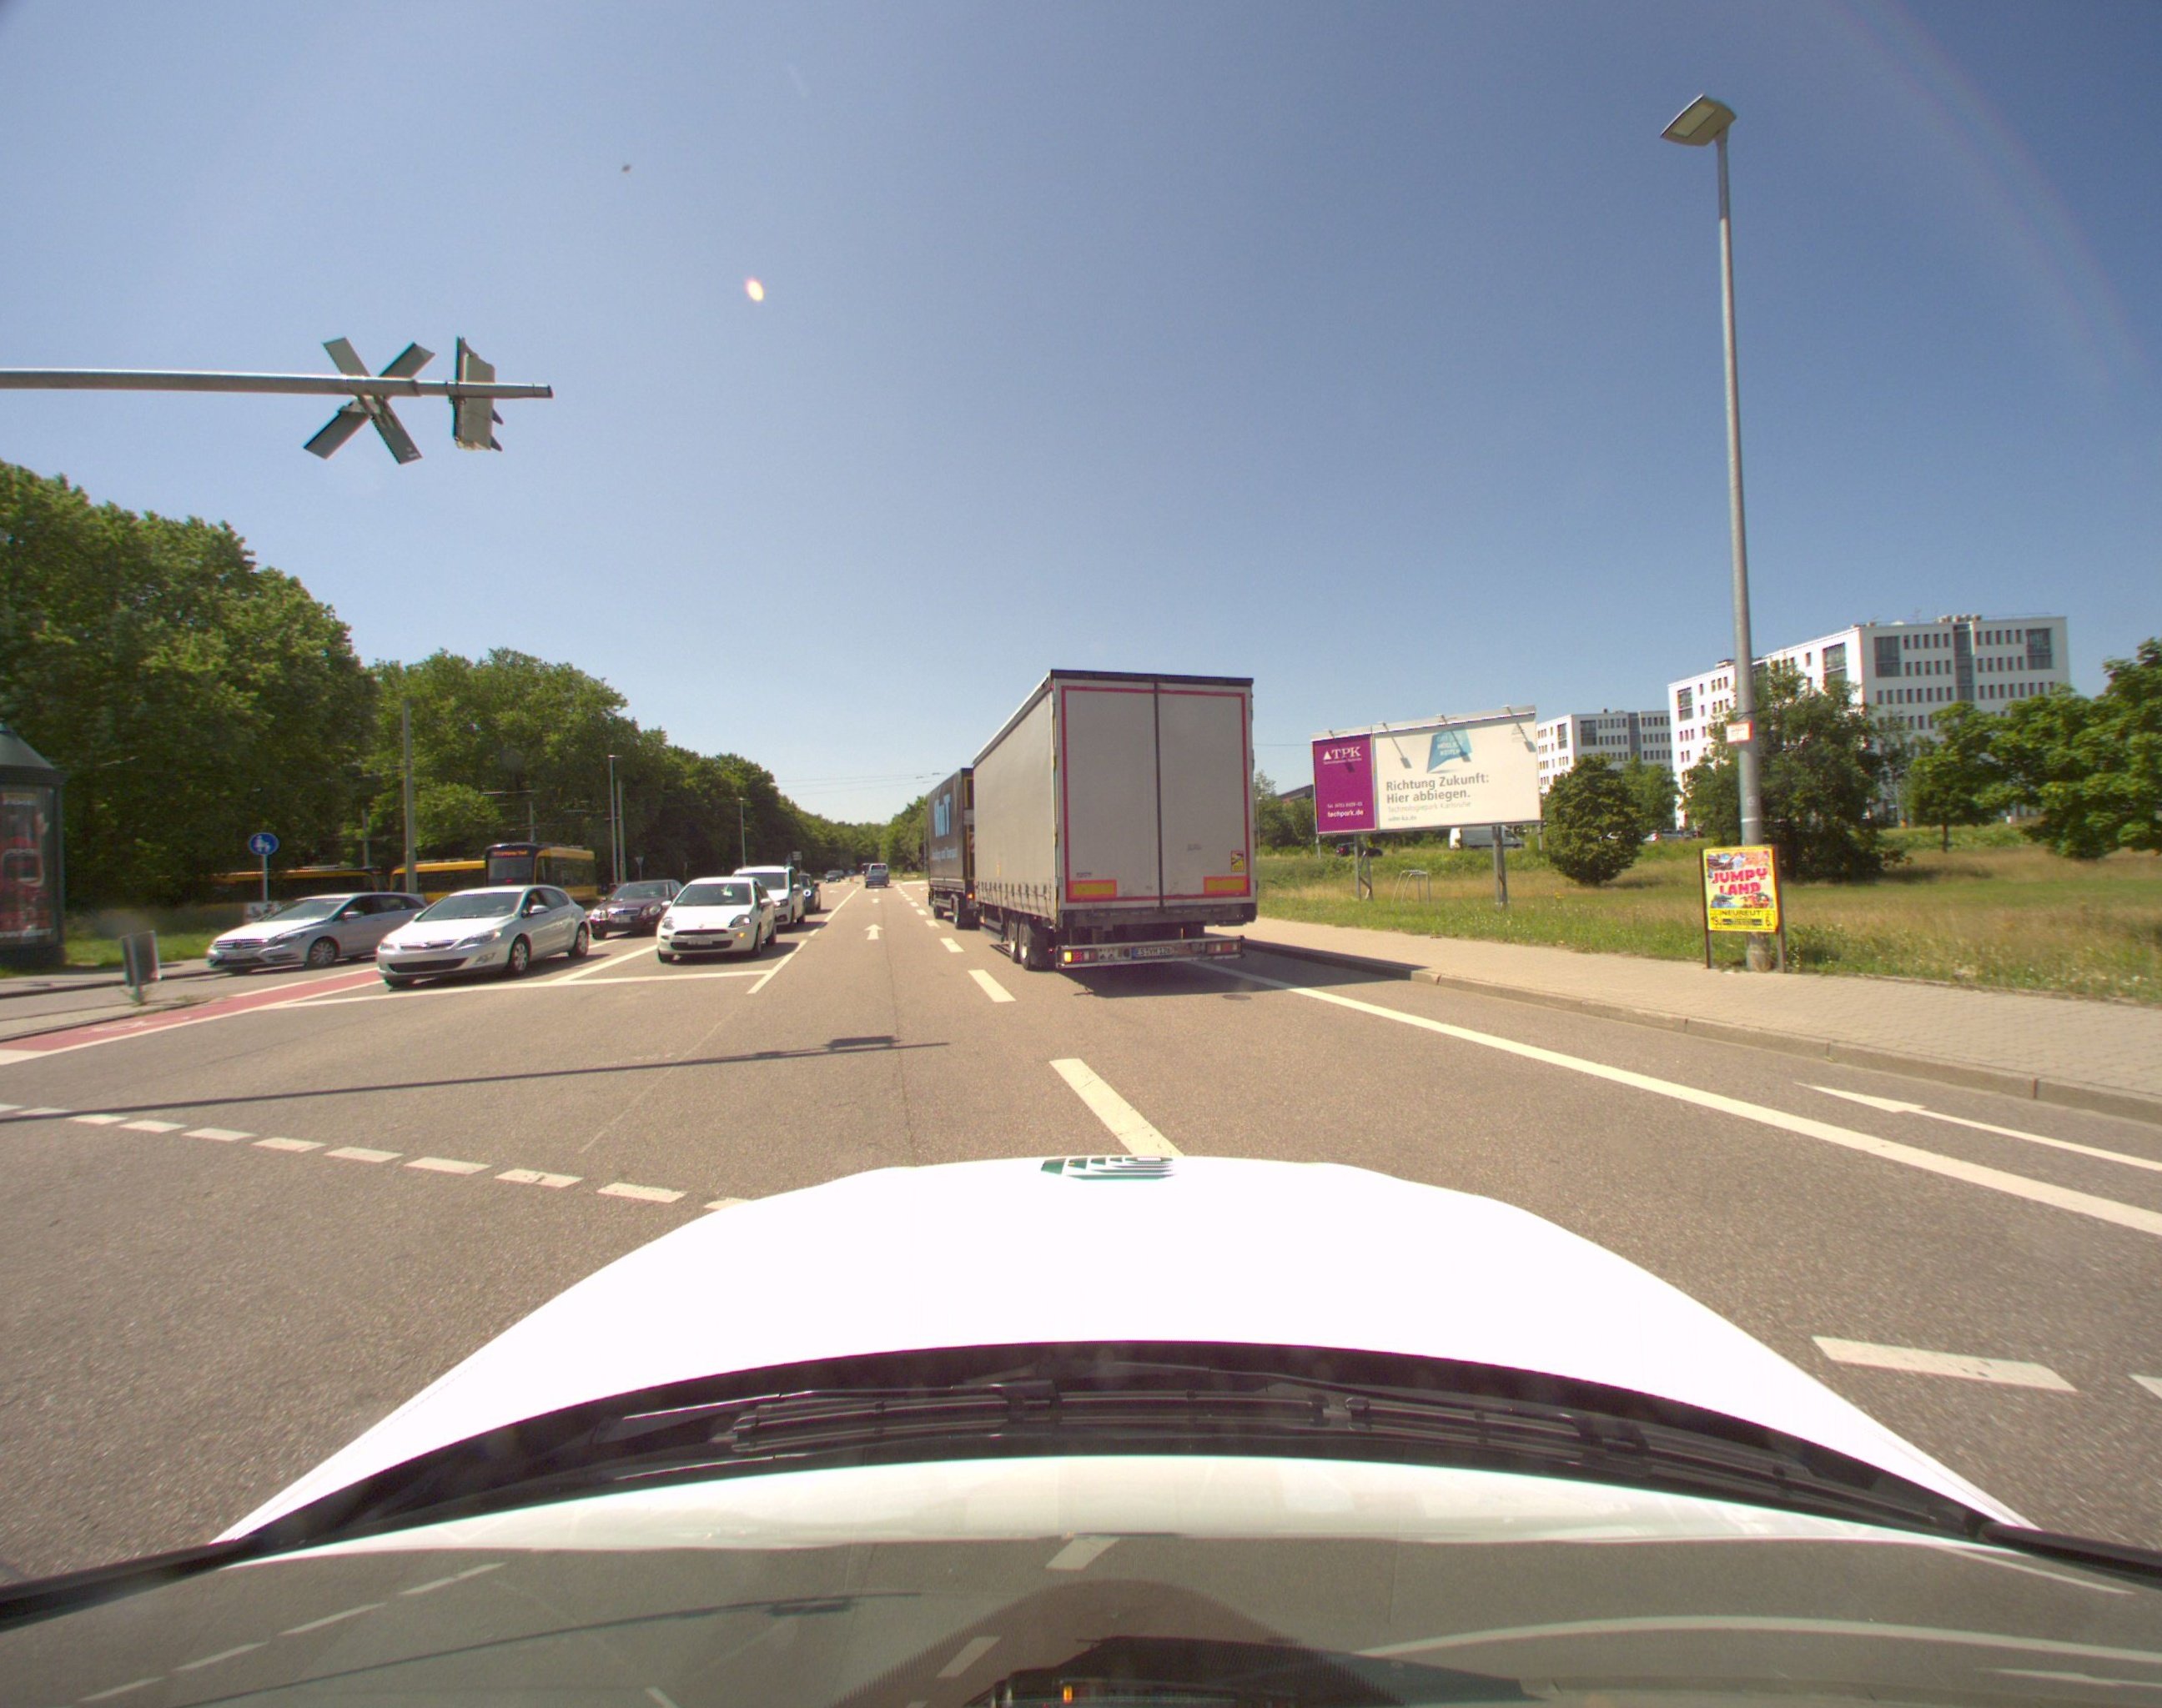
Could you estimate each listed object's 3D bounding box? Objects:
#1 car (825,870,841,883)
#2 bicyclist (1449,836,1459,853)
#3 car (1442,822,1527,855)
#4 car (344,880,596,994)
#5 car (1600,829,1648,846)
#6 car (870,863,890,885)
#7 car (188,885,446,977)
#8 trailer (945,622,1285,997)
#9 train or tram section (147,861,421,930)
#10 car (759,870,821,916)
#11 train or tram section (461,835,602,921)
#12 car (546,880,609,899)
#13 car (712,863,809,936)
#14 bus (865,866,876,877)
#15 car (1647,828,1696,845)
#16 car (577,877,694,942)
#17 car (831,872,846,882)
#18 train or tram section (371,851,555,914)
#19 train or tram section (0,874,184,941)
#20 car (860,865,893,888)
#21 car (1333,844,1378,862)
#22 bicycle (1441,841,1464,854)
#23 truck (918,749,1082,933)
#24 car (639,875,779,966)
[{"bbox_3d":[-31.225,2.797,102.451,1.625,1.456,3.484,-4,0,-14],"label":"car"},{"bbox_3d":[36.370,-0.922,79.387,0.689,1.623,0.609,-3,2,-4],"label":"bicyclist"},{"bbox_3d":[38.421,-1.433,77.688,6.818,2.802,2.664,-2,-1,-5],"label":"car"},{"bbox_3d":[-10.165,1.267,14.042,1.793,1.455,4.392,-3,0,-13],"label":"car"},{"bbox_3d":[52.559,-1.623,78.849,3.608,1.533,1.704,-1,-1,-3],"label":"car"},{"bbox_3d":[-19.380,1.915,78.692,1.657,1.907,3.983,-2,-1,-12],"label":"car"},{"bbox_3d":[-16.691,1.598,18.156,1.737,1.546,4.254,-3,0,-2],"label":"car"},{"bbox_3d":[-0.330,-0.428,13.963,3.082,4.070,9.759,-1,-1,-14],"label":"trailer"},{"bbox_3d":[-57.600,2.894,59.490,14.191,3.759,3.007,-4,0,-19],"label":"train or tram section"},{"bbox_3d":[-10.599,1.365,29.890,1.725,1.462,3.971,-2,0,-14],"label":"car"},{"bbox_3d":[-28.933,1.185,43.723,3.027,3.759,12.904,-4,0,-20],"label":"train or tram section"},{"bbox_3d":[-43.908,3.087,71.094,4.293,1.417,1.663,-3,-2,-6],"label":"car"},{"bbox_3d":[-8.622,1.133,22.299,1.814,1.723,4.807,-2,0,-14],"label":"car"},{"bbox_3d":[-63.242,5.317,244.428,2.754,3.045,11.880,-5,0,-14],"label":"bus"},{"bbox_3d":[57.365,-1.665,79.108,3.608,1.533,1.704,-1,-1,-3],"label":"car"},{"bbox_3d":[-11.954,1.412,22.161,1.763,1.457,4.263,-2,0,-15],"label":"car"},{"bbox_3d":[-36.766,3.467,123.618,1.746,1.405,4.420,-3,1,-13],"label":"car"},{"bbox_3d":[-45.073,2.091,59.280,13.890,3.759,3.040,-4,0,18],"label":"train or tram section"},{"bbox_3d":[-69.467,3.715,53.137,14.263,3.759,2.992,-4,0,-38],"label":"train or tram section"},{"bbox_3d":[-15.873,1.744,63.342,2.024,1.632,3.989,-3,0,-8],"label":"car"},{"bbox_3d":[25.643,-0.096,76.107,3.614,1.533,1.701,-1,-1,-9],"label":"car"},{"bbox_3d":[36.168,-0.607,79.377,1.955,1.180,0.613,-3,2,-4],"label":"bicycle"},{"bbox_3d":[-2.550,-0.265,22.233,3.083,4.070,7.916,-1,-1,-16],"label":"truck"},{"bbox_3d":[-6.956,1.146,15.626,1.771,1.438,3.940,-1,-1,-15],"label":"car"}]
